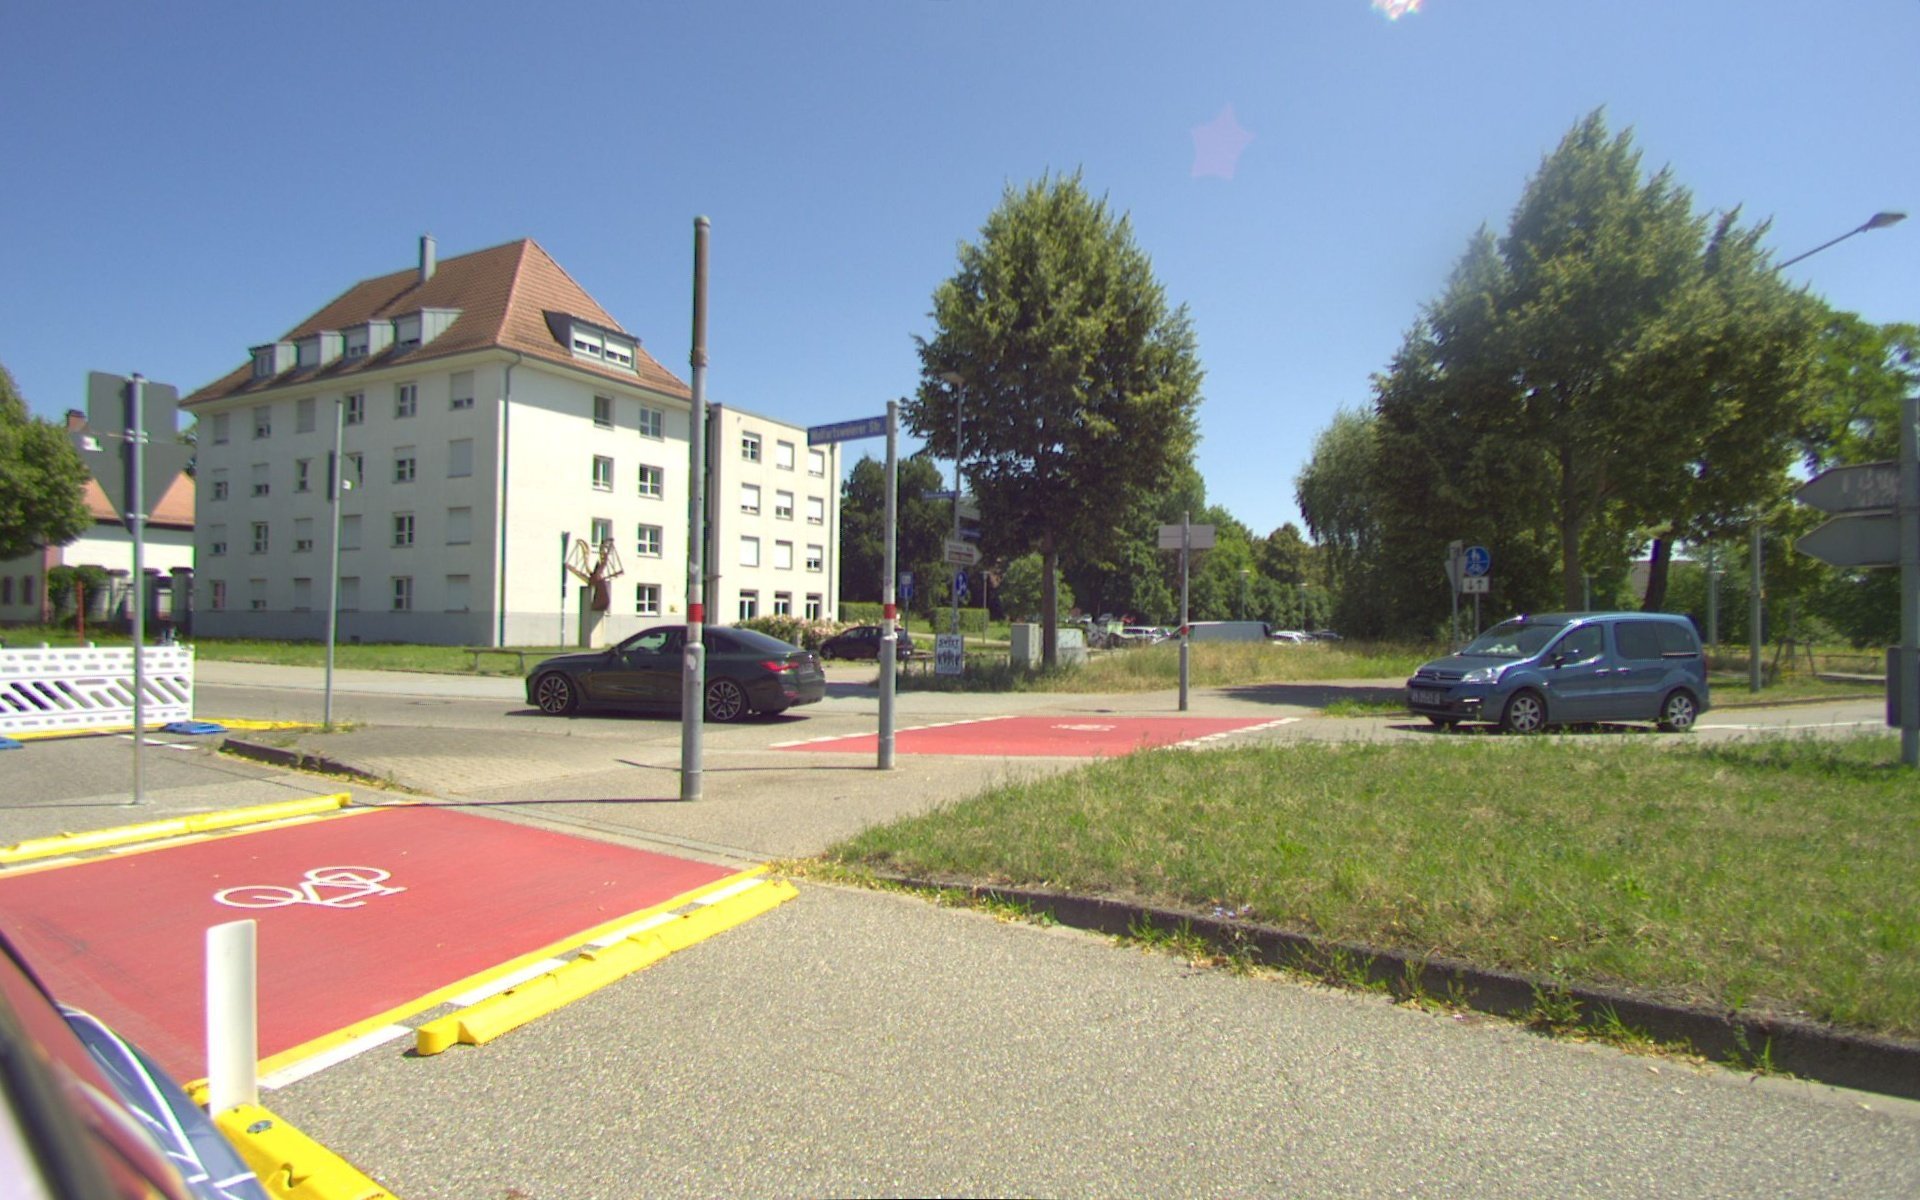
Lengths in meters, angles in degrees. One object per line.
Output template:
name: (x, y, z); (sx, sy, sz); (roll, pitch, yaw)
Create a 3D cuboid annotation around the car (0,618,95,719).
car: (-16.148, 1.017, 15.588); (4.566, 1.462, 1.796); (0, -1, 10)

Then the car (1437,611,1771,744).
car: (9.427, 1.130, 14.927); (4.134, 1.783, 1.694); (1, -3, -13)

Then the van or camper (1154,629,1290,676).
van or camper: (11.057, 2.189, 42.807); (5.250, 1.871, 1.980); (0, -2, 29)

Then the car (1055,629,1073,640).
car: (13.992, 4.642, 135.885); (1.470, 1.427, 3.002); (0, -2, 24)

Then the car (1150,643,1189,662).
car: (15.147, 3.792, 73.260); (2.524, 1.368, 1.070); (-1, -2, 36)

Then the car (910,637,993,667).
car: (-0.391, 2.286, 44.966); (3.500, 1.227, 1.343); (0, -2, 30)

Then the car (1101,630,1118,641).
car: (19.769, 4.647, 133.900); (1.470, 1.427, 3.002); (0, -2, 24)

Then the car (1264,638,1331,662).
car: (19.282, 2.834, 57.850); (3.377, 1.291, 1.340); (-1, -3, 37)

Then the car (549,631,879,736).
car: (-3.658, 1.200, 15.340); (4.568, 1.423, 1.717); (0, -2, 10)

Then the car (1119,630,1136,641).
car: (21.972, 4.633, 132.699); (1.470, 1.427, 3.002); (0, -2, 24)

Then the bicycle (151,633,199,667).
bicycle: (-25.697, 1.630, 33.129); (1.981, 1.032, 0.701); (0, 1, 36)

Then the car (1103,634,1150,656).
car: (10.584, 2.875, 64.416); (2.743, 1.367, 1.158); (-1, -3, 36)

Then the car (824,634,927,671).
car: (-3.342, 2.047, 39.746); (3.792, 1.337, 1.643); (0, -2, 30)

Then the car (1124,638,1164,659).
car: (12.559, 3.288, 69.117); (2.524, 1.368, 1.070); (-1, -2, 36)
